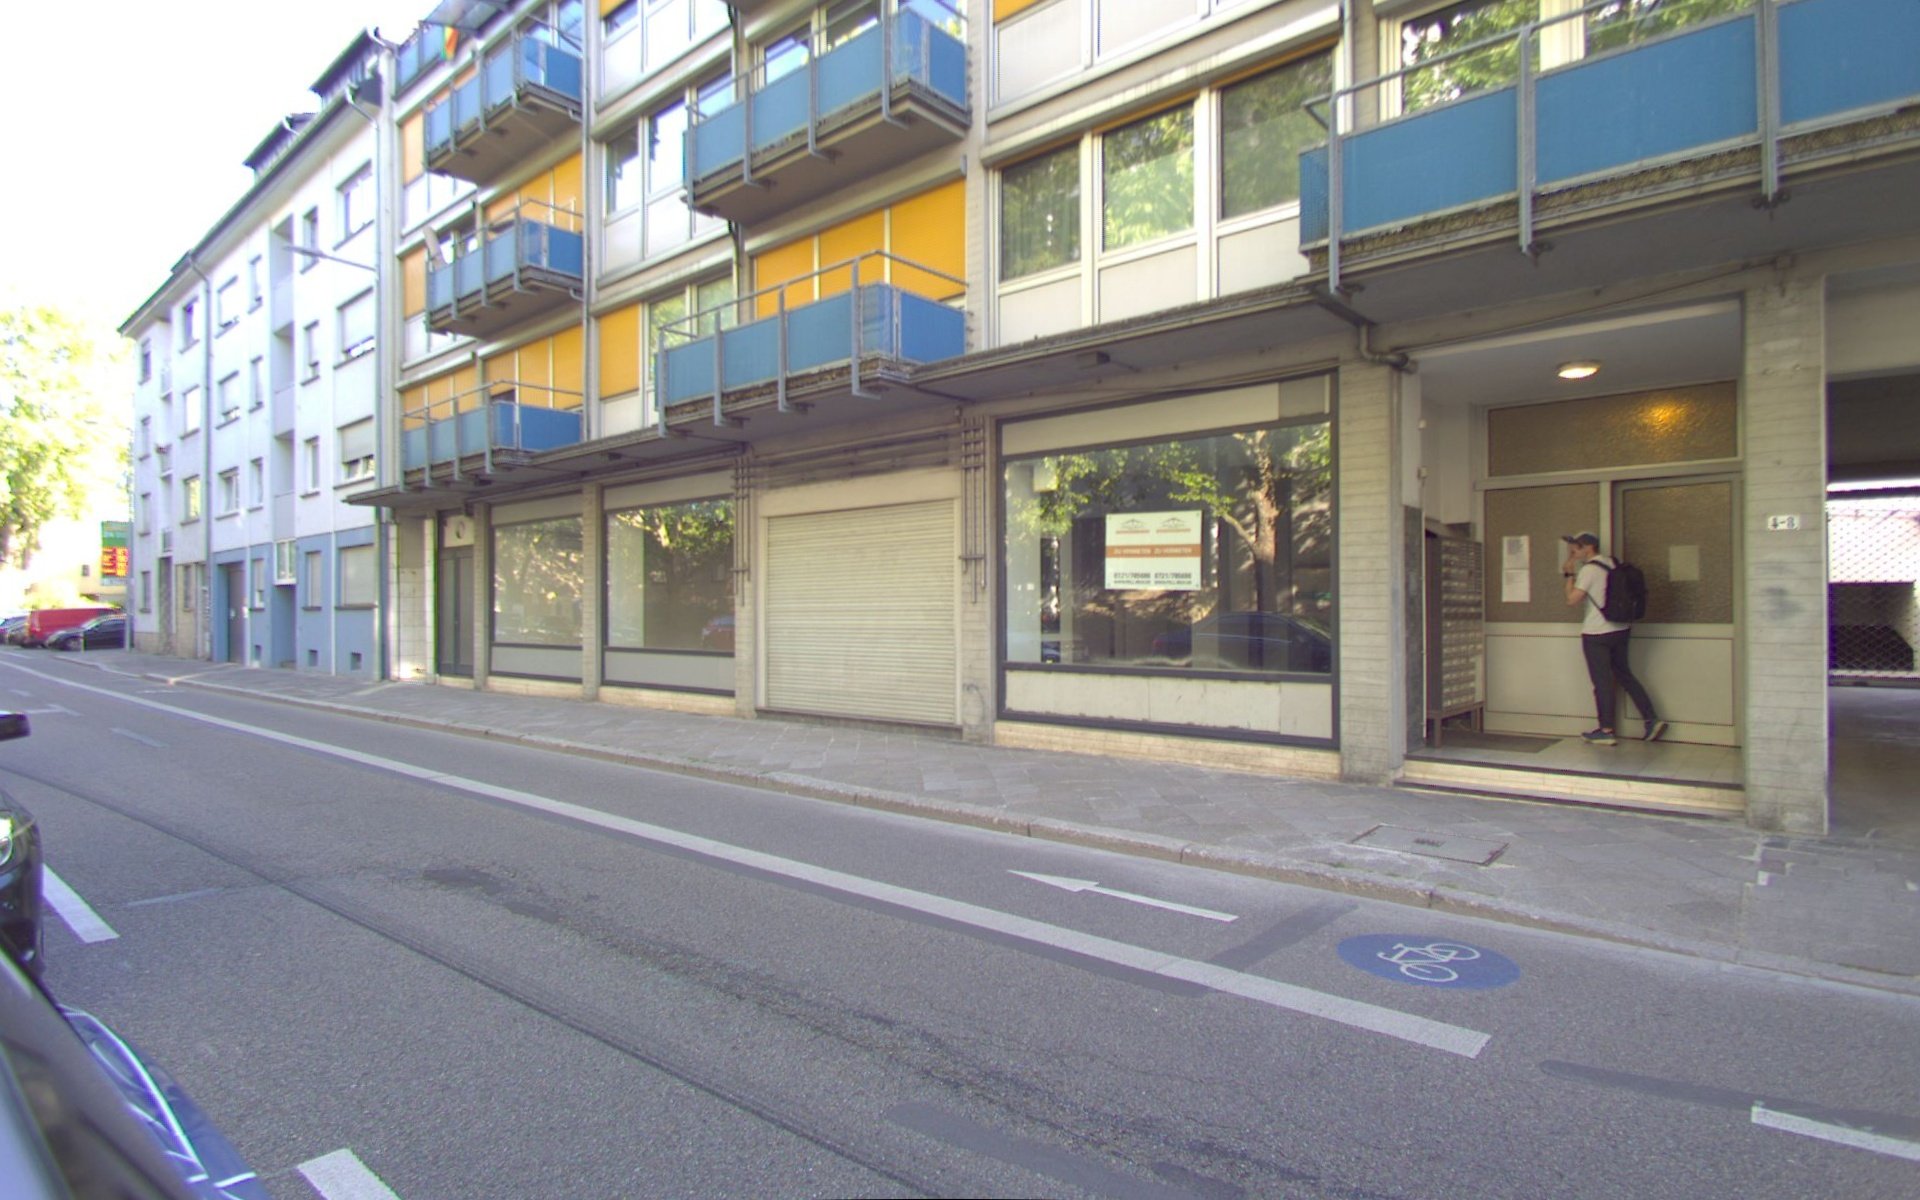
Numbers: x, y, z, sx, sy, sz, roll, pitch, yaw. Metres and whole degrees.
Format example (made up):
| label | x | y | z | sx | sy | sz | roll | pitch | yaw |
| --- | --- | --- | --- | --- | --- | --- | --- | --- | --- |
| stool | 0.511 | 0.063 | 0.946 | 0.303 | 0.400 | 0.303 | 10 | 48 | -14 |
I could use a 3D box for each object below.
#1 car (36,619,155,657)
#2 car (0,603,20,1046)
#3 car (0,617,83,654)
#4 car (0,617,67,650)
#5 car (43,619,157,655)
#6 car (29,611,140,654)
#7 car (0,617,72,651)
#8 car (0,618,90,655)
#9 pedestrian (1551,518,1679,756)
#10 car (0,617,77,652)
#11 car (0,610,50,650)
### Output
| label | x | y | z | sx | sy | sz | roll | pitch | yaw |
| --- | --- | --- | --- | --- | --- | --- | --- | --- | --- |
| car | -39.774 | 1.724 | 46.609 | 2.000 | 1.564 | 3.944 | -1 | 0 | 42 |
| car | -5.537 | 0.808 | 4.286 | 4.479 | 1.512 | 1.842 | -1 | -1 | 41 |
| car | -53.539 | 2.034 | 58.615 | 2.000 | 1.962 | 3.944 | -1 | 0 | 42 |
| car | -59.226 | 2.107 | 64.018 | 2.000 | 1.962 | 3.944 | -1 | 0 | 42 |
| car | -41.193 | 1.742 | 48.530 | 2.000 | 1.564 | 3.944 | -1 | 0 | 42 |
| car | -43.448 | 1.572 | 50.255 | 2.000 | 1.962 | 3.944 | -1 | 0 | 42 |
| car | -57.426 | 2.084 | 62.285 | 2.000 | 1.962 | 3.944 | -1 | 0 | 42 |
| car | -51.588 | 2.009 | 56.832 | 2.000 | 1.962 | 3.944 | -1 | 0 | 42 |
| pedestrian | 5.445 | 0.298 | 8.456 | 0.781 | 1.894 | 0.577 | -1 | 0 | 23 |
| car | -55.620 | 2.061 | 60.567 | 2.000 | 1.962 | 3.944 | -1 | 0 | 42 |
| car | -62.818 | 1.954 | 66.787 | 2.000 | 2.538 | 3.944 | -1 | 0 | 42 |
